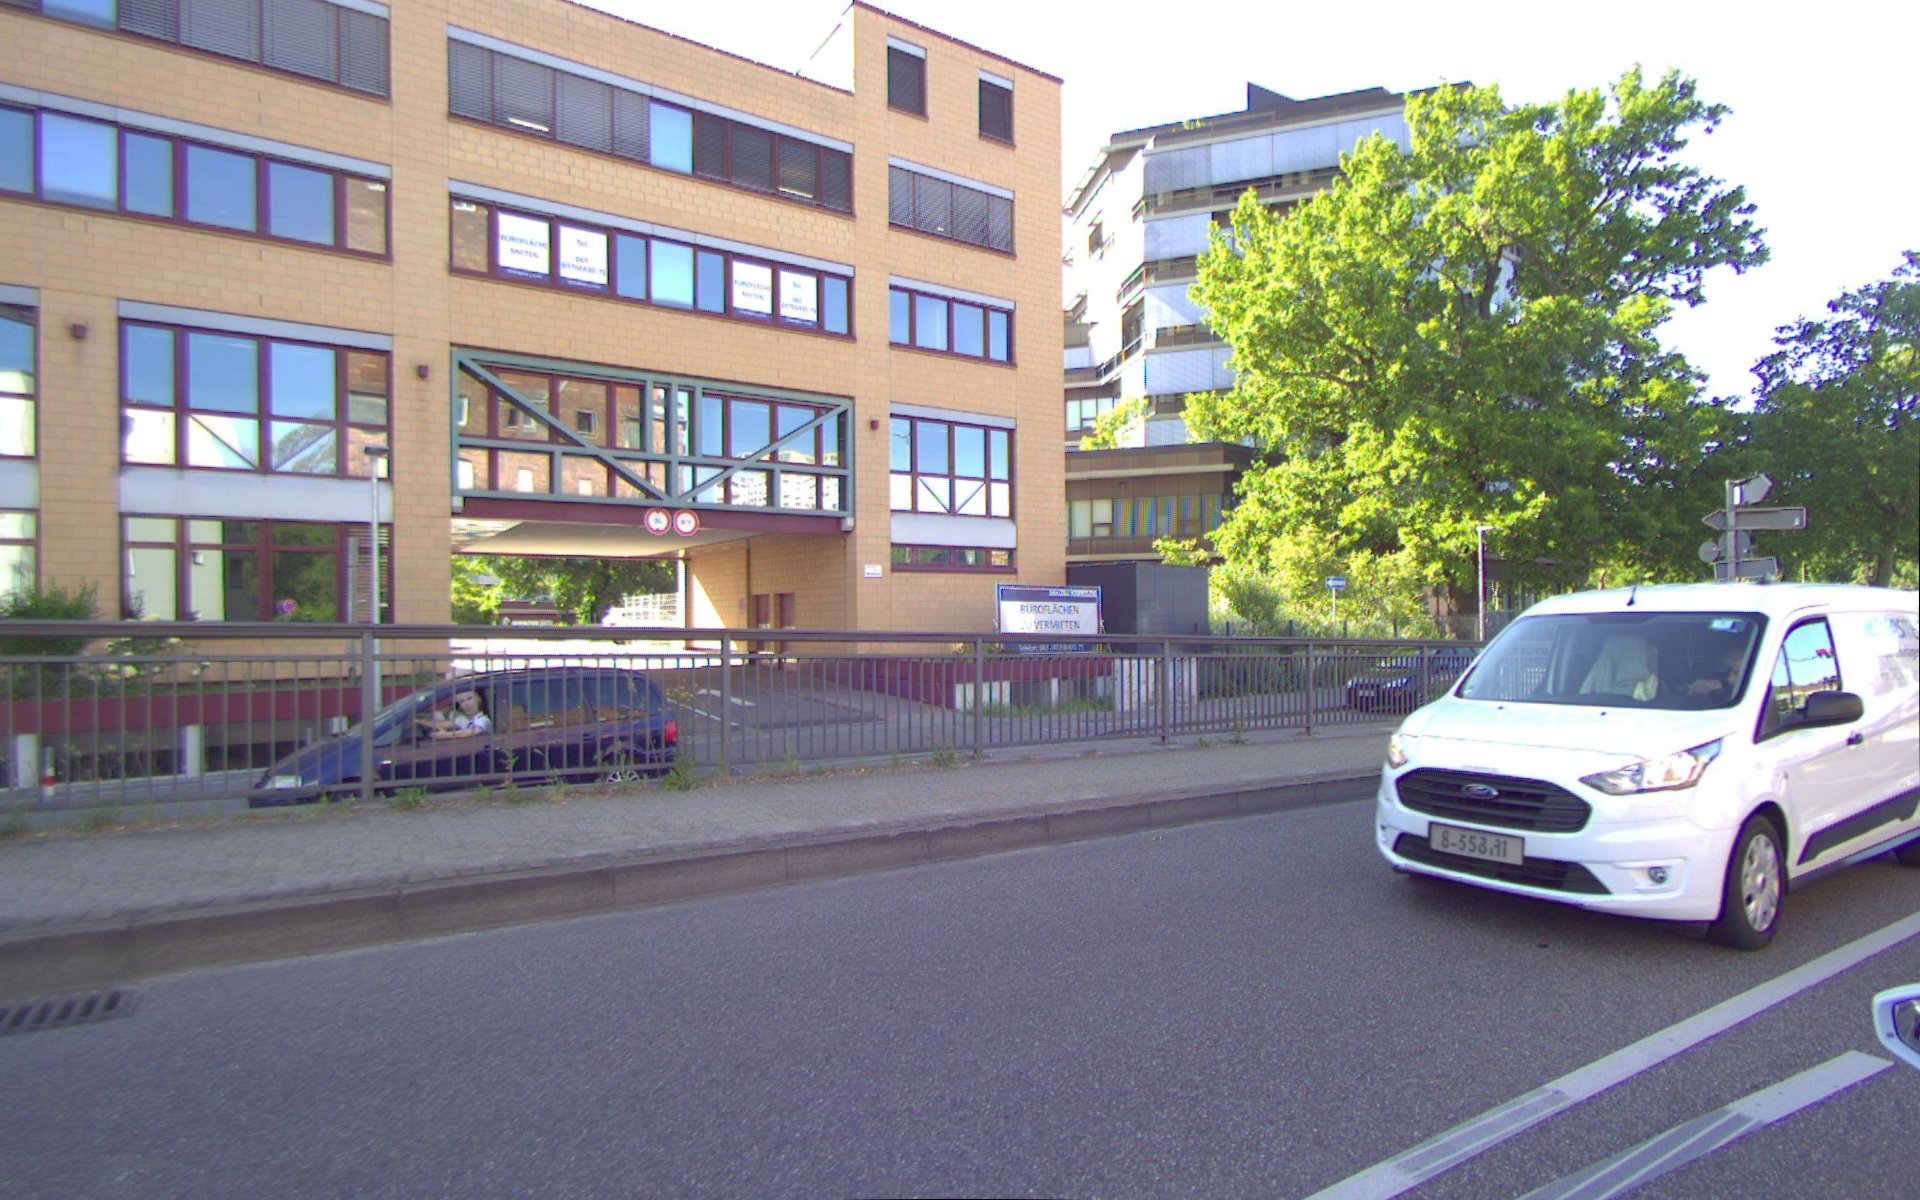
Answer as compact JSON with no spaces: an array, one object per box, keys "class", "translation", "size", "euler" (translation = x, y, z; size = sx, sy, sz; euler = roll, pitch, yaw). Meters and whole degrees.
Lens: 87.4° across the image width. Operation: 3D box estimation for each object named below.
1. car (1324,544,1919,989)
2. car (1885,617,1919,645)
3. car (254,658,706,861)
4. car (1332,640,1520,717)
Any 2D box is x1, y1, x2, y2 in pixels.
[{"class":"car","translation":[4.636,0.721,6.319],"size":[5.067,1.825,1.799],"euler":[0,-1,-34]},{"class":"car","translation":[51.273,1.641,52.451],"size":[1.790,1.458,4.451],"euler":[-1,-1,0]},{"class":"car","translation":[-5.634,1.697,12.068],"size":[4.641,1.781,1.937],"euler":[0,0,-36]},{"class":"car","translation":[10.828,1.743,23.255],"size":[4.400,1.523,1.811],"euler":[0,-1,-31]}]
